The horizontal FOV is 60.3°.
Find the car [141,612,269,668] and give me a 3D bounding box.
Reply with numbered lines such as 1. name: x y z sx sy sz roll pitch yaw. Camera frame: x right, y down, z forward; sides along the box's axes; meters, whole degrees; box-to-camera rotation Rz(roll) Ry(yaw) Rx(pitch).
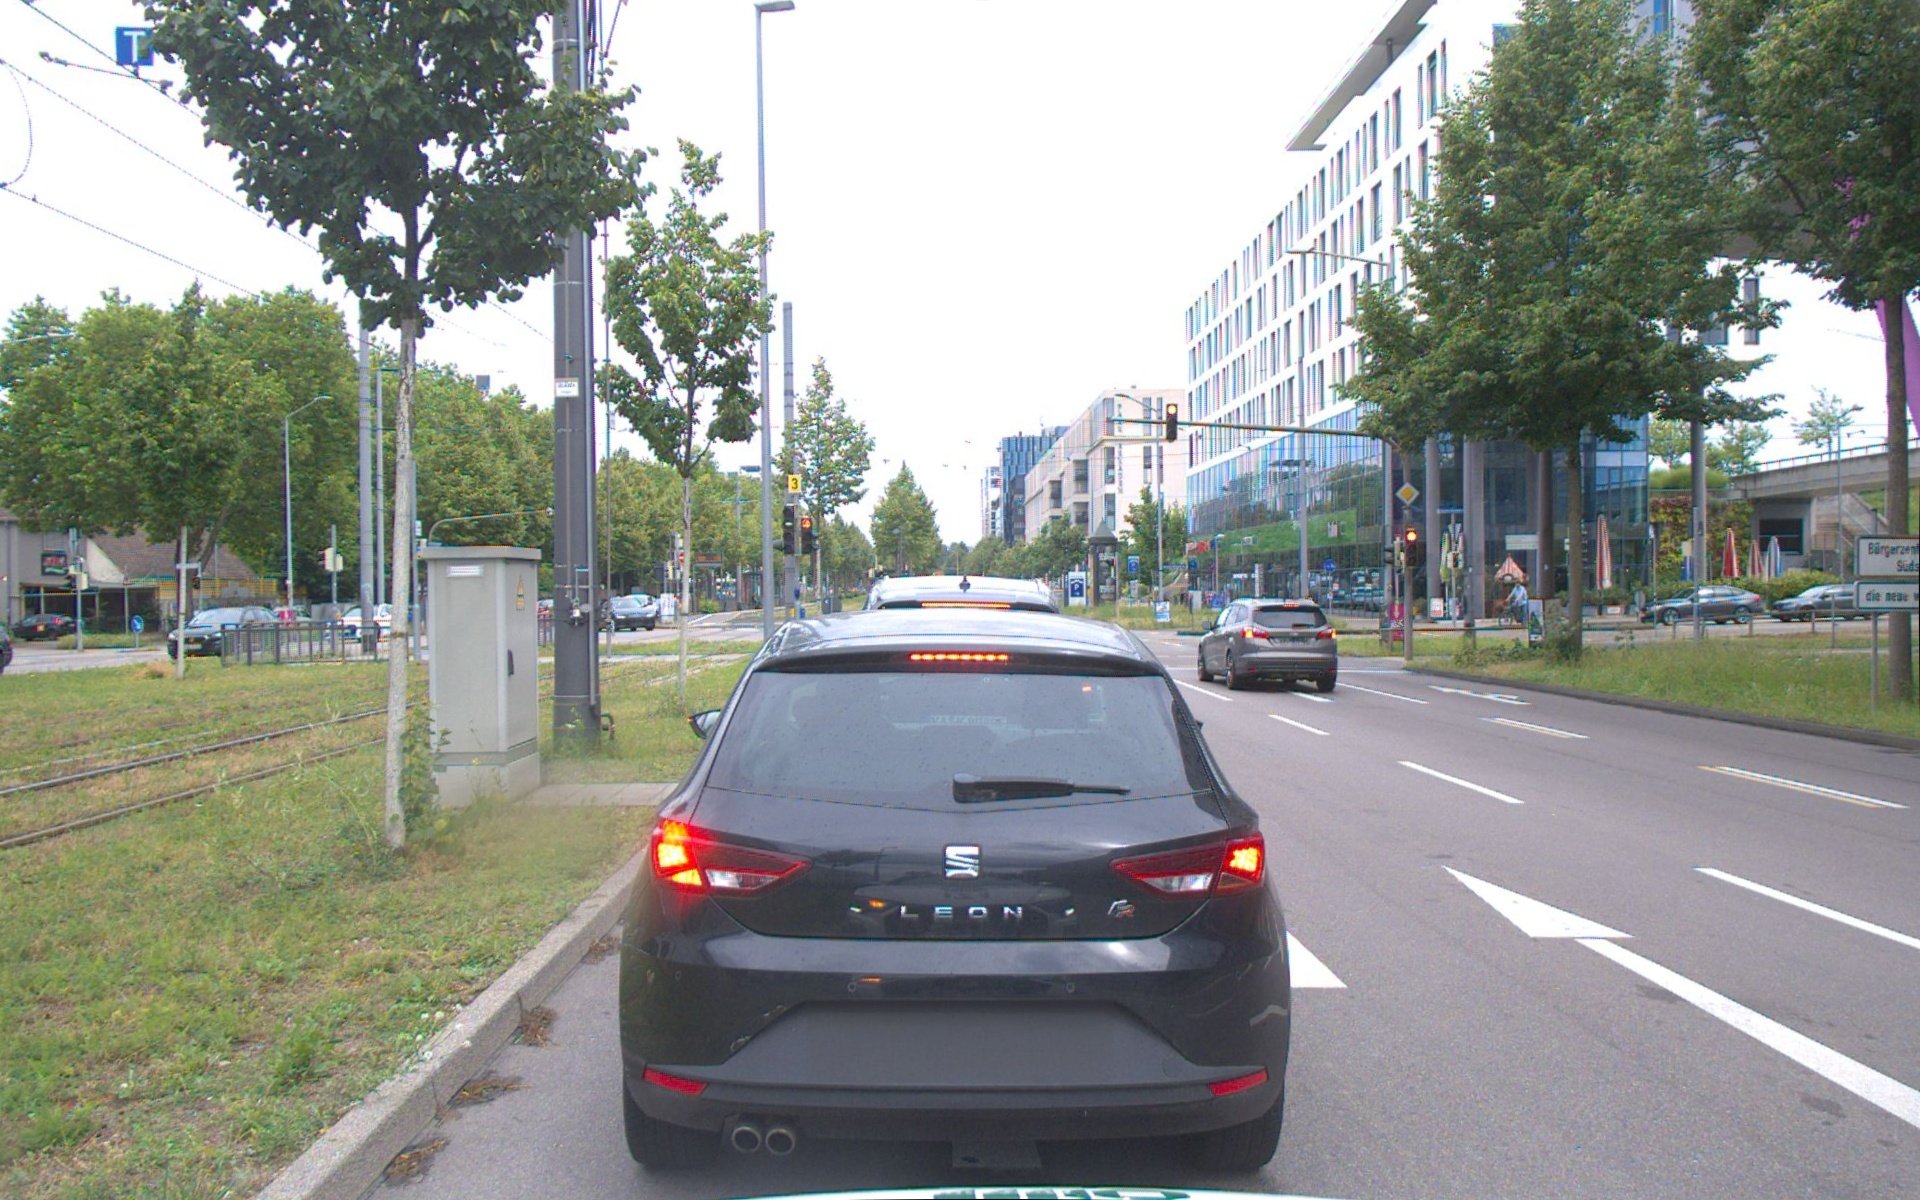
1. car: -20.848 1.069 45.870 1.765 1.401 4.056 -1 0 -2

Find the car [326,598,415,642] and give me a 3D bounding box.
1. car: -23.118 0.741 65.028 1.775 1.616 5.076 -1 0 -2

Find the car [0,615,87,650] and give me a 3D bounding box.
1. car: -50.480 1.762 90.623 4.190 1.847 2.108 -1 0 3

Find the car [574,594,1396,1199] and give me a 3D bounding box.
1. car: 0.004 0.721 5.462 1.708 1.442 3.999 1 0 -2

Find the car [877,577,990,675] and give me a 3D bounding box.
1. car: -0.434 0.436 31.128 1.952 1.711 4.001 1 1 1

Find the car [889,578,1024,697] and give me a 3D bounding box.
1. car: 0.025 0.526 26.074 1.952 1.711 4.001 1 1 2

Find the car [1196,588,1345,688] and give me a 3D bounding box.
1. car: 5.239 0.584 28.429 1.712 1.525 4.268 0 1 -1

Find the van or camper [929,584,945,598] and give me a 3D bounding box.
1. van or camper: -2.934 -1.172 210.172 1.953 1.643 4.789 0 2 0

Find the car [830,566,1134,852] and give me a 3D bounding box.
1. car: 0.099 0.621 11.690 1.766 1.653 3.999 -1 0 -1

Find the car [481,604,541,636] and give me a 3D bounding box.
1. car: -21.163 0.923 78.104 1.775 1.401 4.268 -1 0 -2

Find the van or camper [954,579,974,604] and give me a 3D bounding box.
1. van or camper: 0.406 -0.904 170.987 2.066 2.397 4.923 0 2 0

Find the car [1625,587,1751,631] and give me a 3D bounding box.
1. car: 28.511 0.327 64.883 4.163 1.643 1.758 -1 0 1

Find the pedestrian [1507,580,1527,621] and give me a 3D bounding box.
1. pedestrian: 22.426 0.018 66.620 0.602 1.632 0.619 -1 0 1

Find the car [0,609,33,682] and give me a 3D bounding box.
1. car: -20.099 0.963 32.096 1.630 1.451 4.744 -2 1 -2

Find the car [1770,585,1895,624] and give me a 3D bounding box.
1. car: 34.418 0.171 65.294 3.996 1.480 1.758 -1 0 1

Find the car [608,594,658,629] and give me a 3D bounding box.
1. car: -17.467 0.585 88.429 1.953 1.780 4.199 -1 0 -2

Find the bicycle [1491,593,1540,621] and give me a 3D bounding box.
1. bicycle: 22.356 0.287 66.622 1.755 1.104 0.618 -1 0 1
